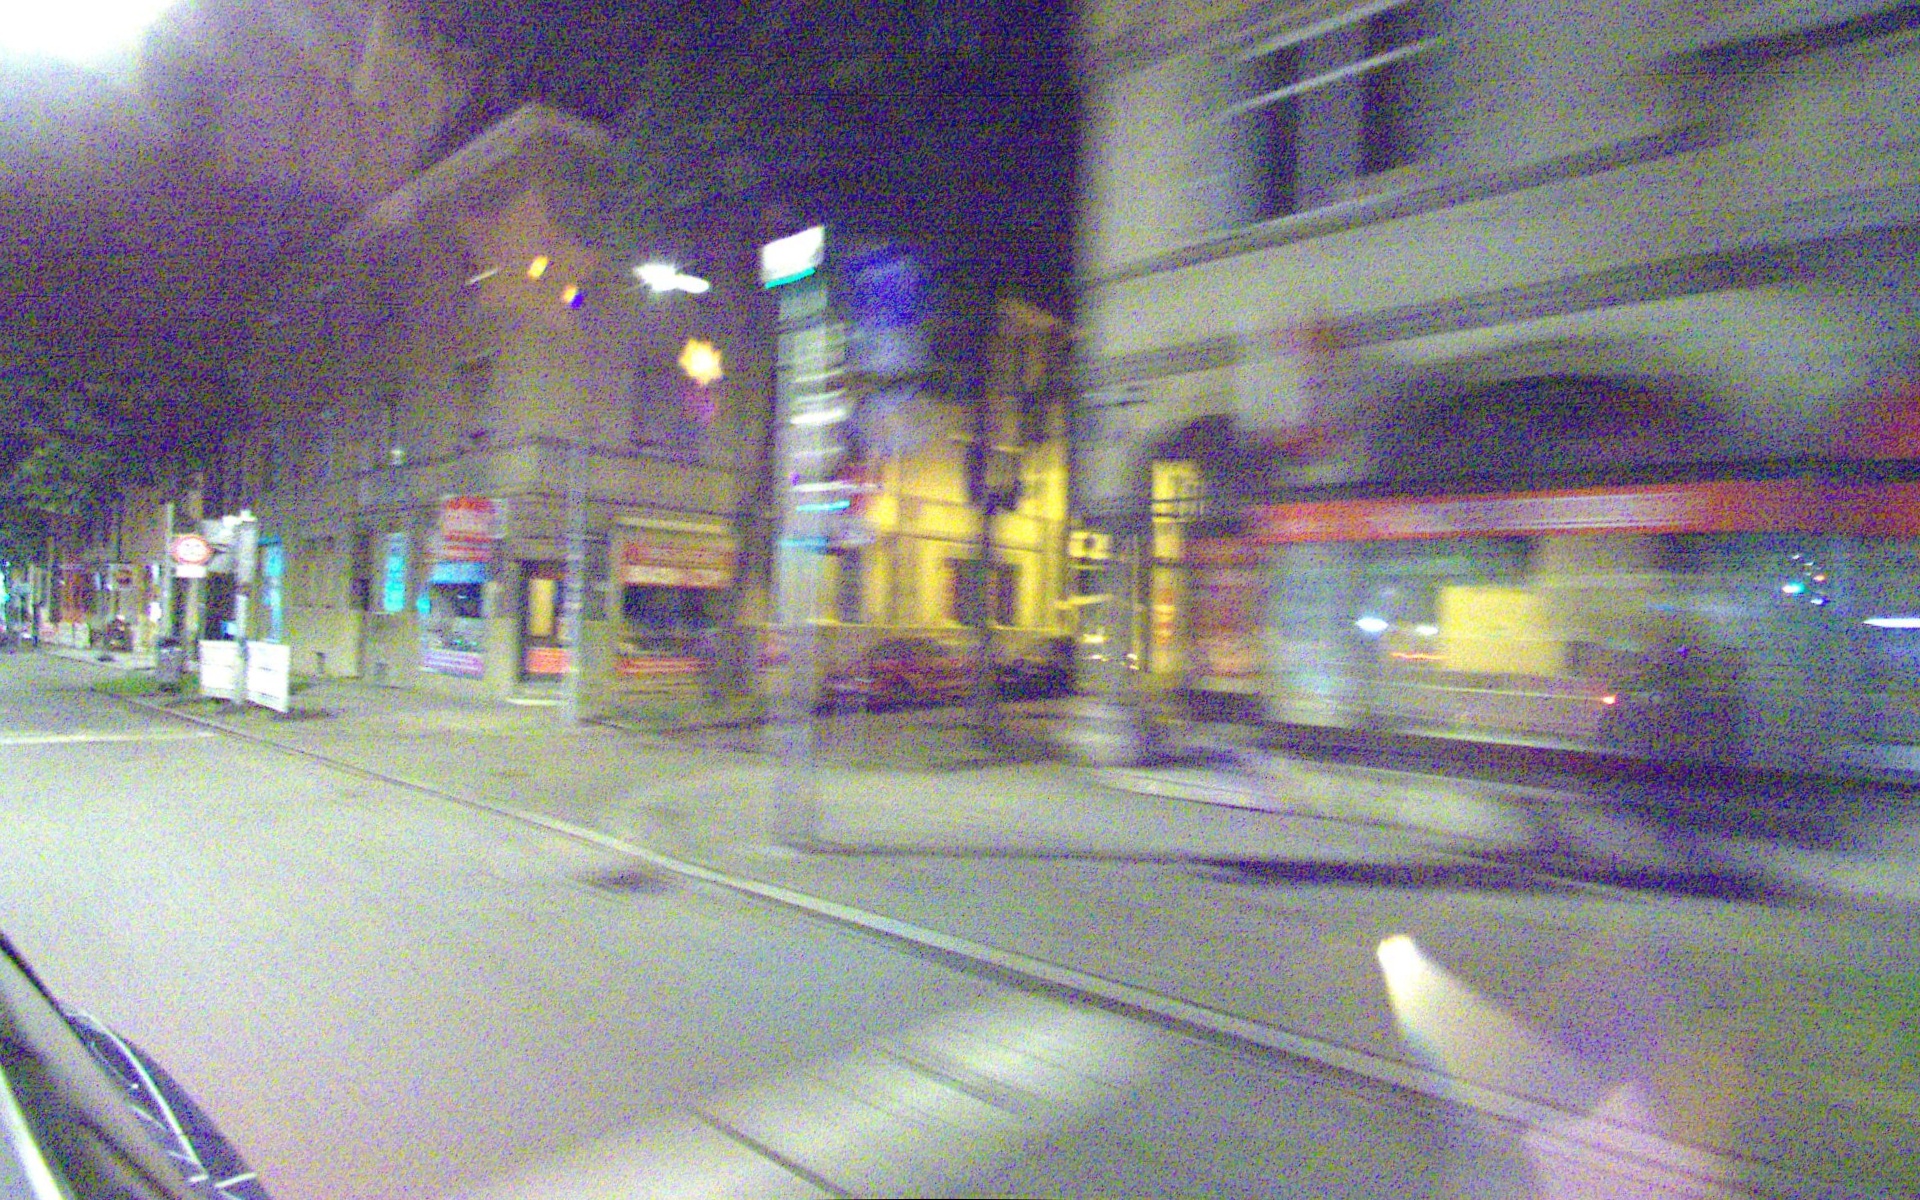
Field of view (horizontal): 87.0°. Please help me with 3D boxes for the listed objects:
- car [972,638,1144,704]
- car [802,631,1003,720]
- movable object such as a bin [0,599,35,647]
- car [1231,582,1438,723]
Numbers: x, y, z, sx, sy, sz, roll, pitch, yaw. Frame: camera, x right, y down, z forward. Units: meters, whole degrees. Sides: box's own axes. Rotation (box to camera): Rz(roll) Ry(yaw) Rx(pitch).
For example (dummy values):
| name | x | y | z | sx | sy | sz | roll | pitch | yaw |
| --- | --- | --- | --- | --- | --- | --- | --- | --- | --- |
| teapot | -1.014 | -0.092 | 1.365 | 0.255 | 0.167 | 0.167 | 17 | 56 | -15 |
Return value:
| name | x | y | z | sx | sy | sz | roll | pitch | yaw |
| --- | --- | --- | --- | --- | --- | --- | --- | --- | --- |
| car | 2.371 | 1.598 | 23.652 | 1.871 | 1.397 | 4.183 | -1 | -3 | 42 |
| car | -1.053 | 1.420 | 19.951 | 1.871 | 1.567 | 3.708 | -1 | -3 | 42 |
| movable object such as a bin | -54.161 | 1.335 | 57.798 | 3.909 | 2.647 | 1.554 | -1 | -3 | 43 |
| car | 8.168 | 1.016 | 21.658 | 2.246 | 2.563 | 5.785 | 3 | 1 | 40 |
